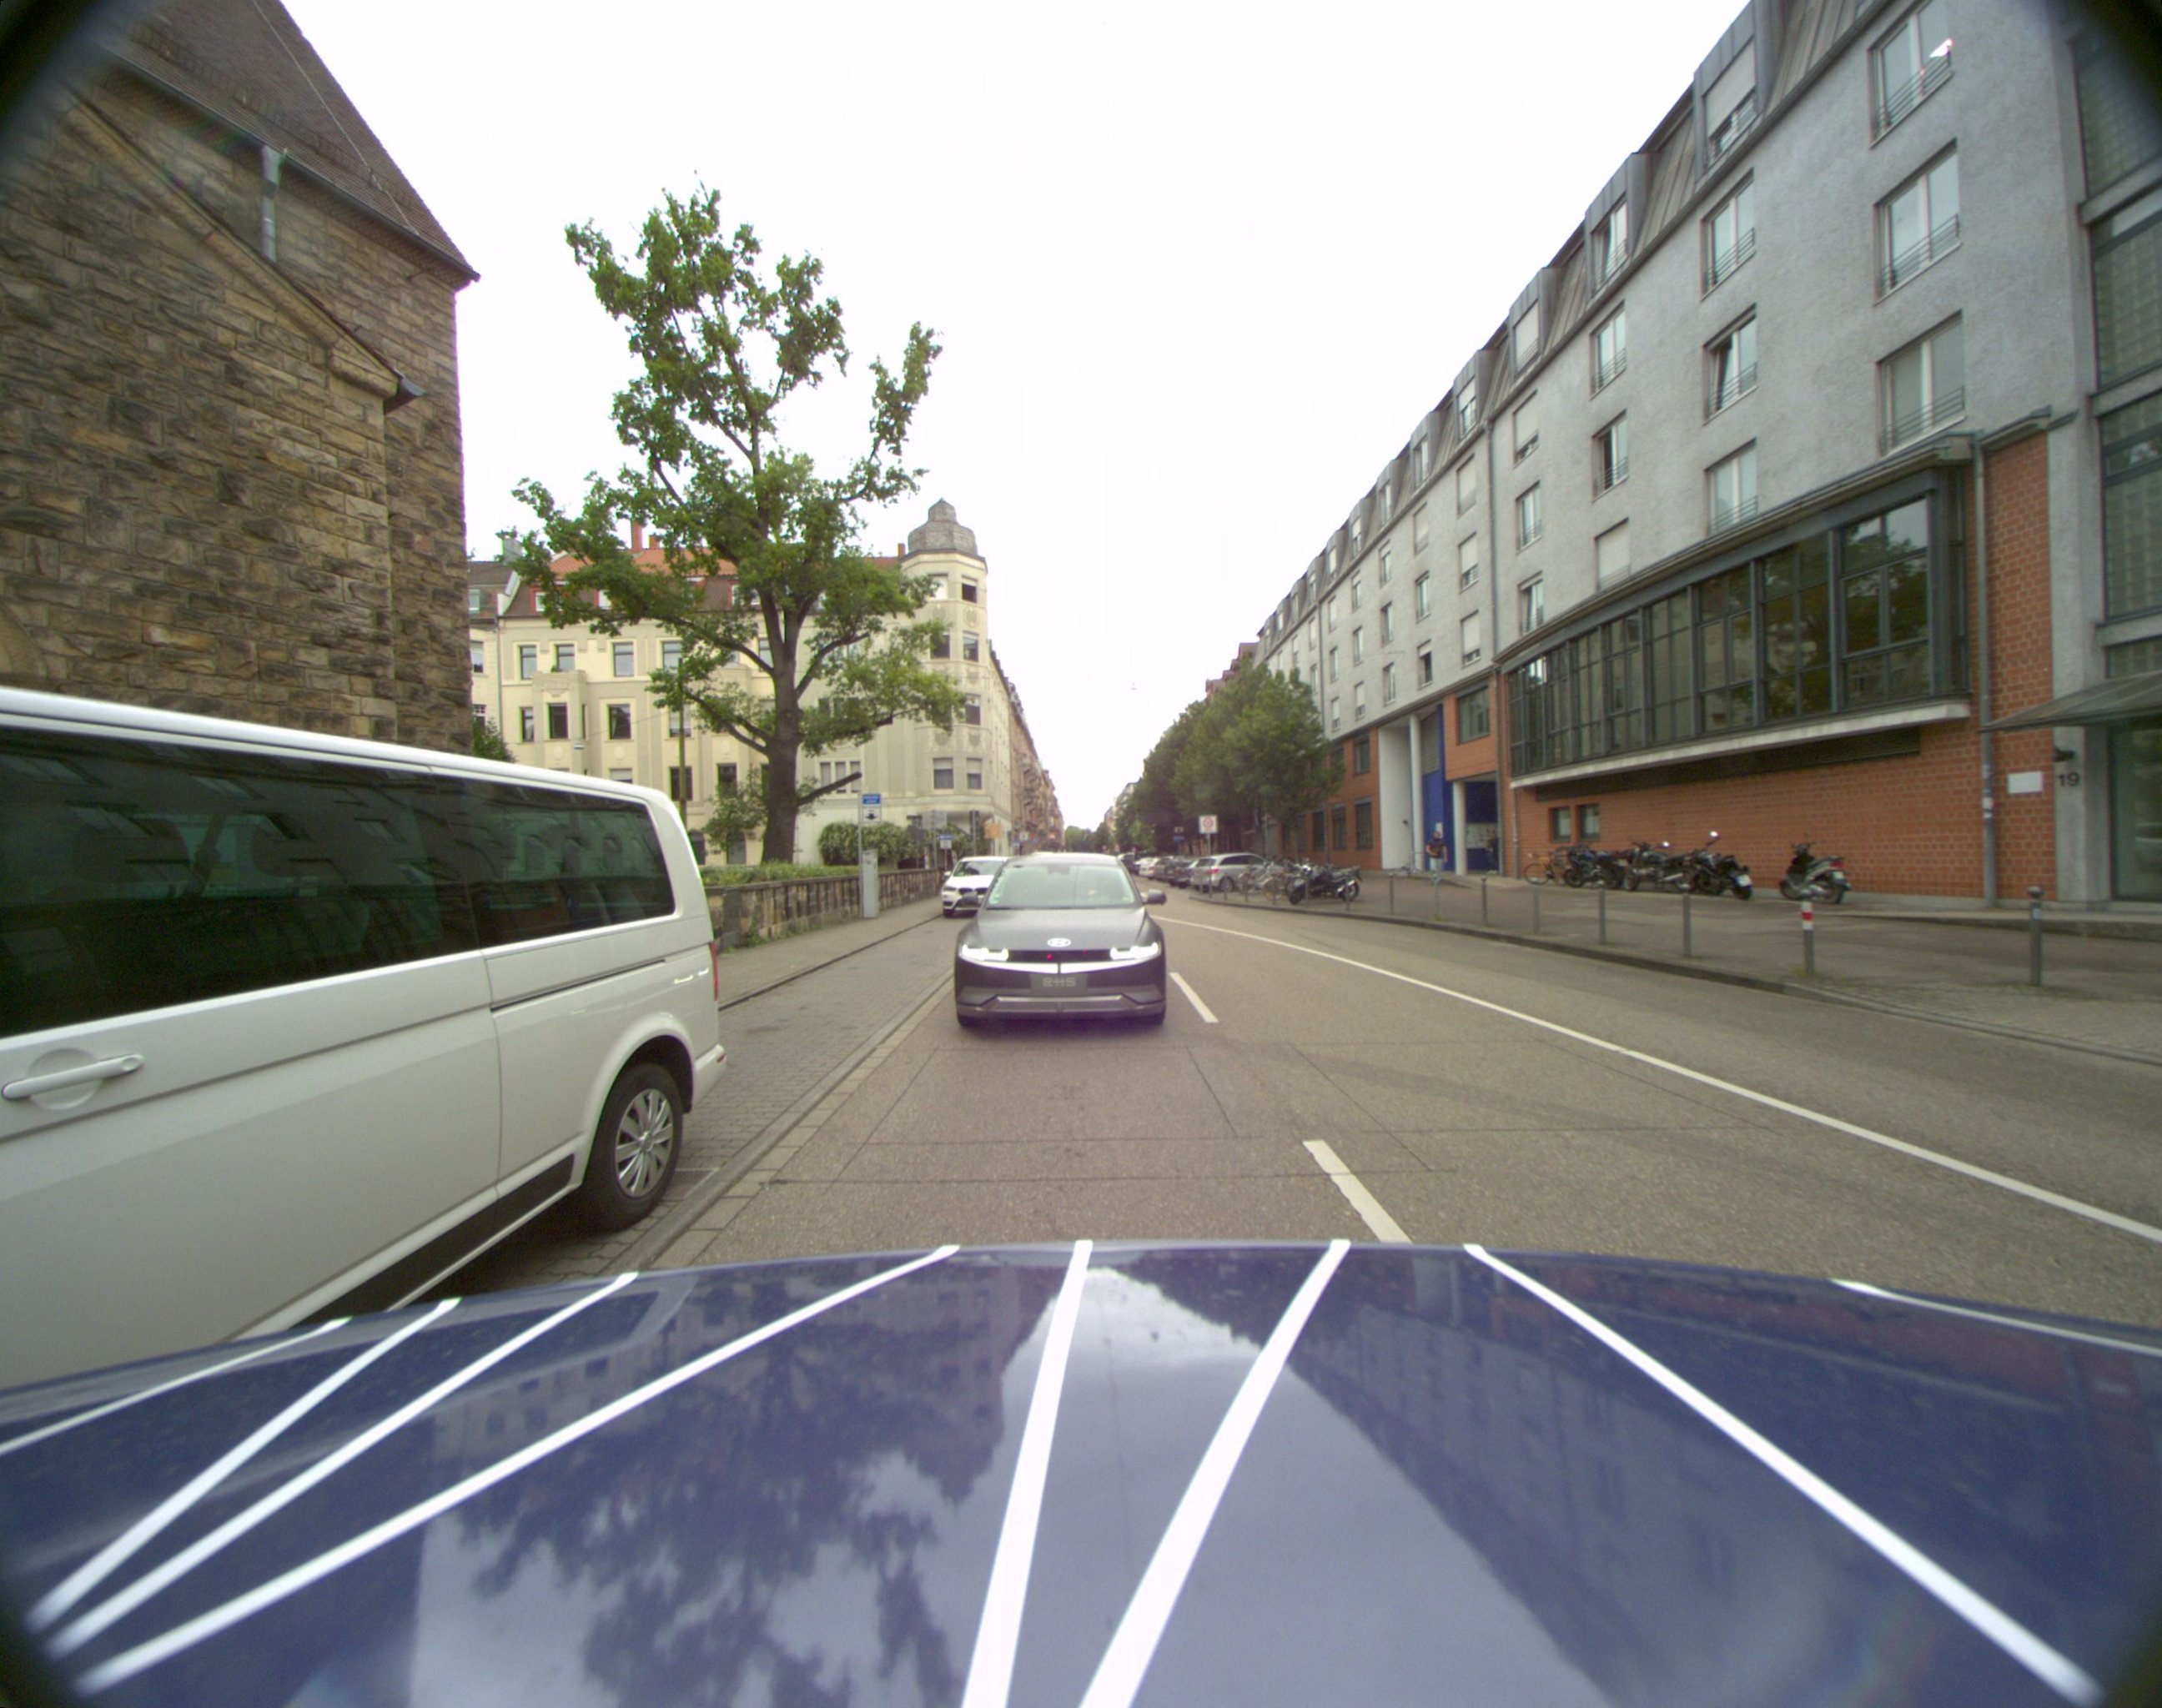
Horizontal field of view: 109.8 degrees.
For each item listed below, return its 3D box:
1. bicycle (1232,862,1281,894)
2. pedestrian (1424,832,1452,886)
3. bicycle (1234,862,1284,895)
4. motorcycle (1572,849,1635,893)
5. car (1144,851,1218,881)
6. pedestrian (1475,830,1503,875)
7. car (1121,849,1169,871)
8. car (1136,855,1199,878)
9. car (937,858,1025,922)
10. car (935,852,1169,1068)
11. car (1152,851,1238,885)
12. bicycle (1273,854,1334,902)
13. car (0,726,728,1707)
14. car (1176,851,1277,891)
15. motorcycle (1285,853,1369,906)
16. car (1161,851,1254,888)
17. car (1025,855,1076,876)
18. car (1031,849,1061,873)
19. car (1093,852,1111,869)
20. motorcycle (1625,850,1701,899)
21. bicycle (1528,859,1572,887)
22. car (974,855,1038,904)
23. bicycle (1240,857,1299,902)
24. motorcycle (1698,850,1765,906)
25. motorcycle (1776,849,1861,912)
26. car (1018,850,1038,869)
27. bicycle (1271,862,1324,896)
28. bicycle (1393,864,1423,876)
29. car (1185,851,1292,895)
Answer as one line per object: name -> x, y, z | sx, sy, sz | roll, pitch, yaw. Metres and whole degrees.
bicycle -> 6.362, 0.871, 27.601 | 1.630, 1.067, 0.416 | -3, 1, -1
pedestrian -> 12.040, 0.168, 25.624 | 0.621, 1.812, 0.642 | -2, 1, 1
bicycle -> 6.350, 0.879, 27.064 | 1.630, 1.067, 0.416 | -3, 1, -1
motorcycle -> 13.638, 0.435, 19.875 | 0.446, 1.091, 1.763 | -2, 0, 1
car -> 6.055, 0.712, 46.045 | 4.004, 1.619, 1.996 | -2, 0, -22
pedestrian -> 15.345, -0.057, 28.598 | 0.686, 1.640, 0.622 | -2, 1, 2
car -> 6.073, 0.573, 72.343 | 4.004, 1.897, 1.996 | -2, 0, -22
car -> 5.999, 0.861, 52.682 | 4.004, 1.488, 1.735 | -2, 0, -22
car -> -2.681, 0.911, 21.195 | 1.820, 1.556, 4.000 | -2, 0, 1
car -> -0.201, 0.848, 8.053 | 1.820, 1.675, 4.000 | -2, 0, 1
car -> 6.010, 0.710, 40.099 | 4.004, 1.619, 1.996 | -2, 0, -22
bicycle -> 6.630, 0.714, 22.671 | 1.630, 1.345, 0.416 | -3, 1, -1
car -> -2.780, 0.753, 1.437 | 1.810, 1.908, 5.163 | -2, 0, -1
car -> 6.519, 0.735, 34.111 | 4.004, 1.619, 1.996 | -2, 0, -22
motorcycle -> 6.950, 0.717, 21.498 | 2.124, 1.345, 0.599 | -3, 1, 1
car -> 6.199, 0.723, 37.329 | 4.004, 1.619, 1.996 | -2, 0, -22
car -> -2.457, 0.934, 60.630 | 1.916, 1.597, 4.239 | -2, 1, -38
car -> -2.420, 0.461, 53.607 | 1.820, 1.556, 4.000 | -2, 0, 1
car -> 2.501, 0.756, 91.120 | 1.998, 1.897, 4.000 | -2, 0, 1
motorcycle -> 13.641, 0.458, 17.867 | 0.446, 1.091, 1.763 | -2, 0, 1
bicycle -> 13.849, 0.554, 22.459 | 0.336, 0.782, 1.581 | -2, 0, 1
car -> -2.594, 0.845, 27.157 | 1.820, 1.556, 4.000 | -2, 0, 1
bicycle -> 5.801, 0.775, 23.428 | 1.630, 1.282, 0.416 | -3, 1, -1
motorcycle -> 13.308, 0.464, 15.589 | 0.445, 1.091, 1.765 | -1, 0, 21
motorcycle -> 13.510, 0.455, 13.973 | 0.445, 1.091, 1.765 | -1, 0, 21
car -> -4.438, 0.430, 63.814 | 1.336, 1.462, 2.857 | -2, 1, 1
bicycle -> 7.403, 0.847, 26.019 | 1.630, 1.067, 0.416 | -3, 1, -1
bicycle -> 13.386, 0.660, 31.101 | 1.010, 0.434, 0.527 | -2, 2, 2
car -> 6.506, 0.745, 31.451 | 4.004, 1.619, 1.769 | -2, 0, -22
